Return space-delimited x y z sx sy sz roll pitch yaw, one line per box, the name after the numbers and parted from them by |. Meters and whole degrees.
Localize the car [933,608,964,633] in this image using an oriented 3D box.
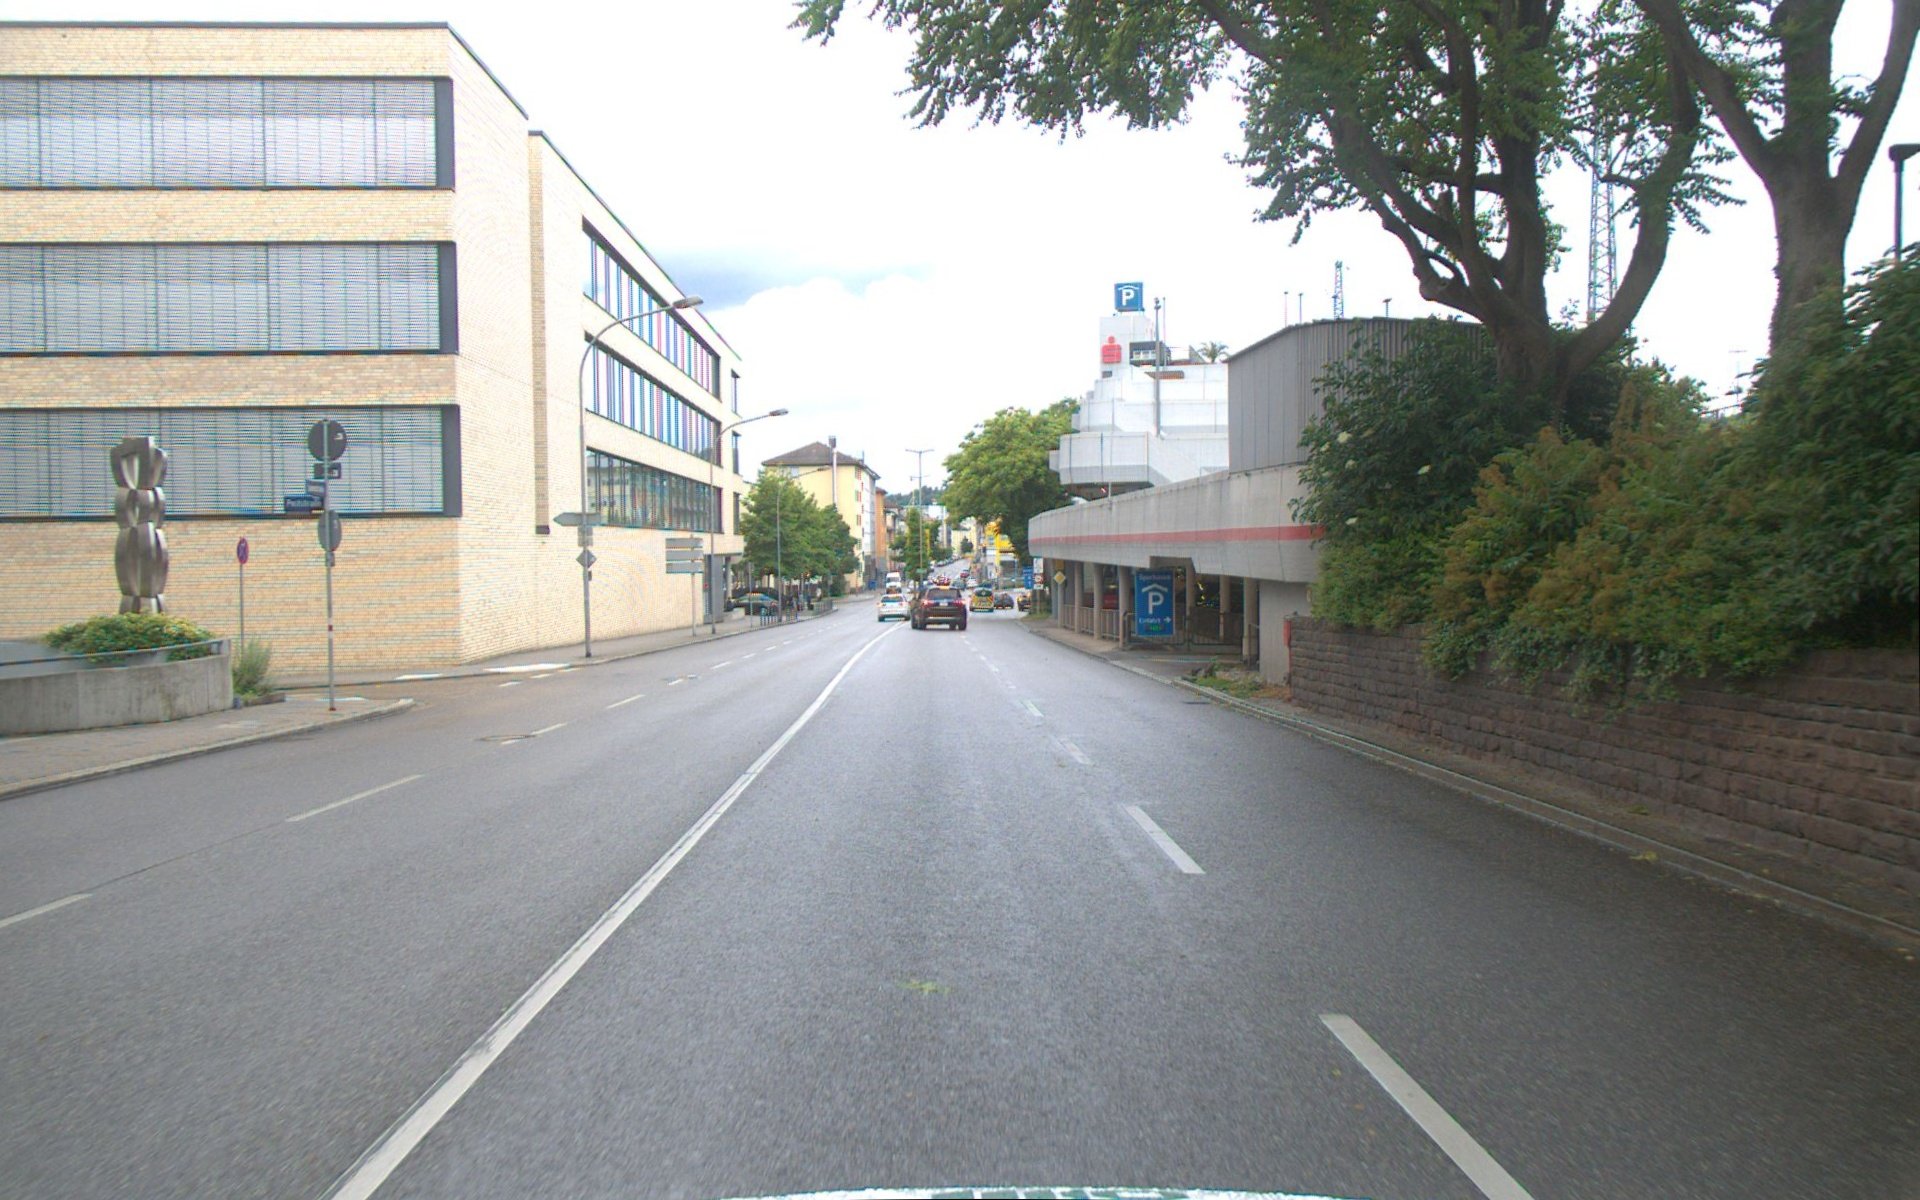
-0.858 1.515 122.692 1.951 1.709 4.002 -1 0 4 | car

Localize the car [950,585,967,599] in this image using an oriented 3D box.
-0.184 -1.121 223.838 1.954 1.709 3.997 -1 2 -4 | car

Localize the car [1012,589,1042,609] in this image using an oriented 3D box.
5.888 -0.132 144.363 1.951 1.709 4.004 -1 0 12 | car

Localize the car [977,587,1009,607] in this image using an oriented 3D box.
2.985 -0.259 148.396 1.951 1.709 4.003 -1 0 16 | car

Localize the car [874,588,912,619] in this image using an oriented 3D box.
-3.843 0.184 94.181 1.955 1.709 3.995 0 0 -6 | car

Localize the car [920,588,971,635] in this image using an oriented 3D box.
-0.597 0.456 69.684 2.049 1.944 4.099 0 0 0 | car

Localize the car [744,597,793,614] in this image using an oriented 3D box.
-14.258 0.405 122.957 3.585 1.256 1.439 -1 0 -7 | car

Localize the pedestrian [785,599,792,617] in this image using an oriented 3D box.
-12.630 0.616 121.826 0.444 1.301 0.454 -1 0 10 | pedestrian

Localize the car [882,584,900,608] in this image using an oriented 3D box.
-9.225 -0.488 221.361 2.141 3.152 4.926 -1 0 -5 | car

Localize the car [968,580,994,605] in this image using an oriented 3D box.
1.732 -0.620 138.092 2.128 2.039 4.000 -1 0 0 | car
